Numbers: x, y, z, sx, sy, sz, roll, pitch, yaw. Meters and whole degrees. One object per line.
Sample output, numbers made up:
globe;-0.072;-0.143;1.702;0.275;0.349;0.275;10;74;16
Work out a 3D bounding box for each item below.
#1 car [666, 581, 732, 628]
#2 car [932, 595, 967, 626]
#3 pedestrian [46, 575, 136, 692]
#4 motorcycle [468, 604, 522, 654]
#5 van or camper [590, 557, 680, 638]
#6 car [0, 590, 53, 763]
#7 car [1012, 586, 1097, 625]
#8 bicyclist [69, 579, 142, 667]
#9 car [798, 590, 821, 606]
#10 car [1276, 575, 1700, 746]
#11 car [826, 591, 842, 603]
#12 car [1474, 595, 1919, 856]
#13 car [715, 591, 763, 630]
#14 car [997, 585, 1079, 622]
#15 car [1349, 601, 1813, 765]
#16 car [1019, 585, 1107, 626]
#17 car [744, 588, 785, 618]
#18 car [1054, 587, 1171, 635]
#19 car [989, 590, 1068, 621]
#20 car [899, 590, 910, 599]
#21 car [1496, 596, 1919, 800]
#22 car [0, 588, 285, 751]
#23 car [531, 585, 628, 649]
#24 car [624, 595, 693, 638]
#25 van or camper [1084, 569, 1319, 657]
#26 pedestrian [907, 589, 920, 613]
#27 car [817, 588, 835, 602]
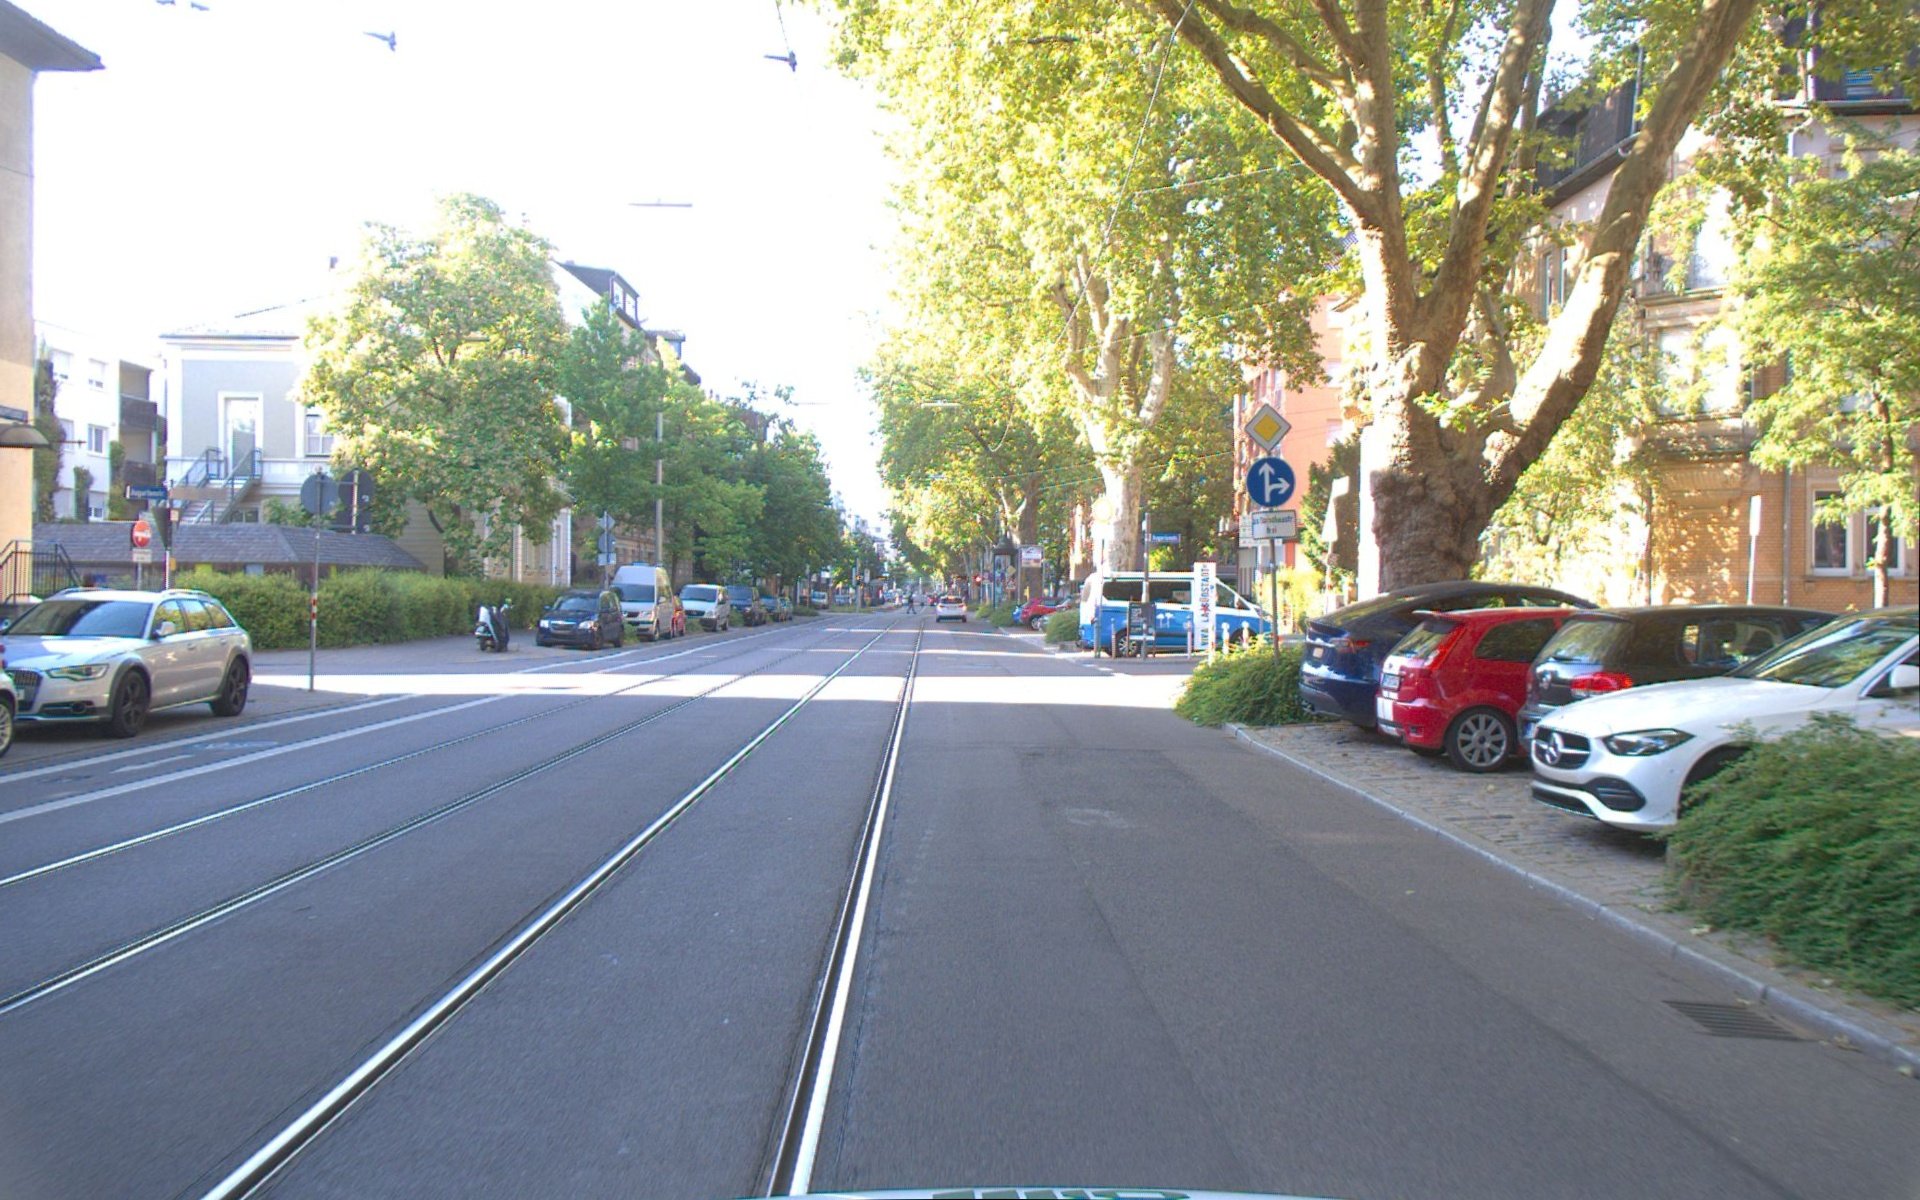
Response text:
car;-10.968;0.171;69.756;2.129;1.893;4.658;0;0;-1
car;-0.591;0.575;92.404;1.879;1.612;3.790;-1;0;-1
pedestrian;-12.214;0.458;23.276;0.771;1.620;0.941;0;0;-1
motorcycle;-11.703;0.720;41.715;0.748;1.126;2.329;1;2;-1
van or camper;-10.760;-0.088;55.082;2.037;2.577;5.316;0;0;-1
car;-9.438;0.674;14.220;1.539;1.553;3.040;2;0;1
car;4.460;0.249;78.281;3.906;1.816;2.000;0;0;-1
bicyclist;-17.122;0.449;33.174;1.027;1.735;1.055;0;0;-11
car;-13.476;-0.178;148.235;1.880;1.443;3.718;0;0;-3
car;5.462;0.592;17.463;3.845;1.699;1.960;0;0;-3
car;-15.407;-0.319;202.686;1.880;1.443;3.588;0;0;-3
car;5.811;0.711;10.379;4.591;1.472;1.892;0;0;-1
car;-11.222;0.510;84.165;1.953;1.893;4.177;0;0;-1
car;3.813;0.177;81.529;3.906;1.816;2.000;0;0;-1
car;5.591;0.717;15.243;3.575;1.402;1.889;0;0;-1
car;4.720;0.242;76.003;3.906;1.816;2.000;0;0;-1
car;-11.800;0.175;100.078;1.953;1.775;4.658;0;0;-1
car;5.319;0.361;57.938;3.906;1.637;2.000;0;0;-1
car;3.461;0.286;83.828;3.906;1.547;2.000;0;0;-1
car;-8.598;-0.831;254.504;1.603;1.443;3.588;0;0;-3
car;6.348;0.707;12.845;3.803;1.460;1.753;0;0;-1
car;-9.498;0.664;18.715;1.800;1.494;5.066;3;0;-3
car;-10.480;0.430;45.855;1.751;1.614;4.342;3;0;-2
car;-10.970;0.577;60.443;1.838;1.486;4.206;0;0;-1
van or camper;5.979;0.287;41.392;5.448;2.048;2.242;0;3;-6
pedestrian;-3.836;0.071;137.627;1.026;2.049;1.082;0;0;2
car;-14.935;-0.536;184.870;1.881;1.443;3.586;-2;-1;-6
